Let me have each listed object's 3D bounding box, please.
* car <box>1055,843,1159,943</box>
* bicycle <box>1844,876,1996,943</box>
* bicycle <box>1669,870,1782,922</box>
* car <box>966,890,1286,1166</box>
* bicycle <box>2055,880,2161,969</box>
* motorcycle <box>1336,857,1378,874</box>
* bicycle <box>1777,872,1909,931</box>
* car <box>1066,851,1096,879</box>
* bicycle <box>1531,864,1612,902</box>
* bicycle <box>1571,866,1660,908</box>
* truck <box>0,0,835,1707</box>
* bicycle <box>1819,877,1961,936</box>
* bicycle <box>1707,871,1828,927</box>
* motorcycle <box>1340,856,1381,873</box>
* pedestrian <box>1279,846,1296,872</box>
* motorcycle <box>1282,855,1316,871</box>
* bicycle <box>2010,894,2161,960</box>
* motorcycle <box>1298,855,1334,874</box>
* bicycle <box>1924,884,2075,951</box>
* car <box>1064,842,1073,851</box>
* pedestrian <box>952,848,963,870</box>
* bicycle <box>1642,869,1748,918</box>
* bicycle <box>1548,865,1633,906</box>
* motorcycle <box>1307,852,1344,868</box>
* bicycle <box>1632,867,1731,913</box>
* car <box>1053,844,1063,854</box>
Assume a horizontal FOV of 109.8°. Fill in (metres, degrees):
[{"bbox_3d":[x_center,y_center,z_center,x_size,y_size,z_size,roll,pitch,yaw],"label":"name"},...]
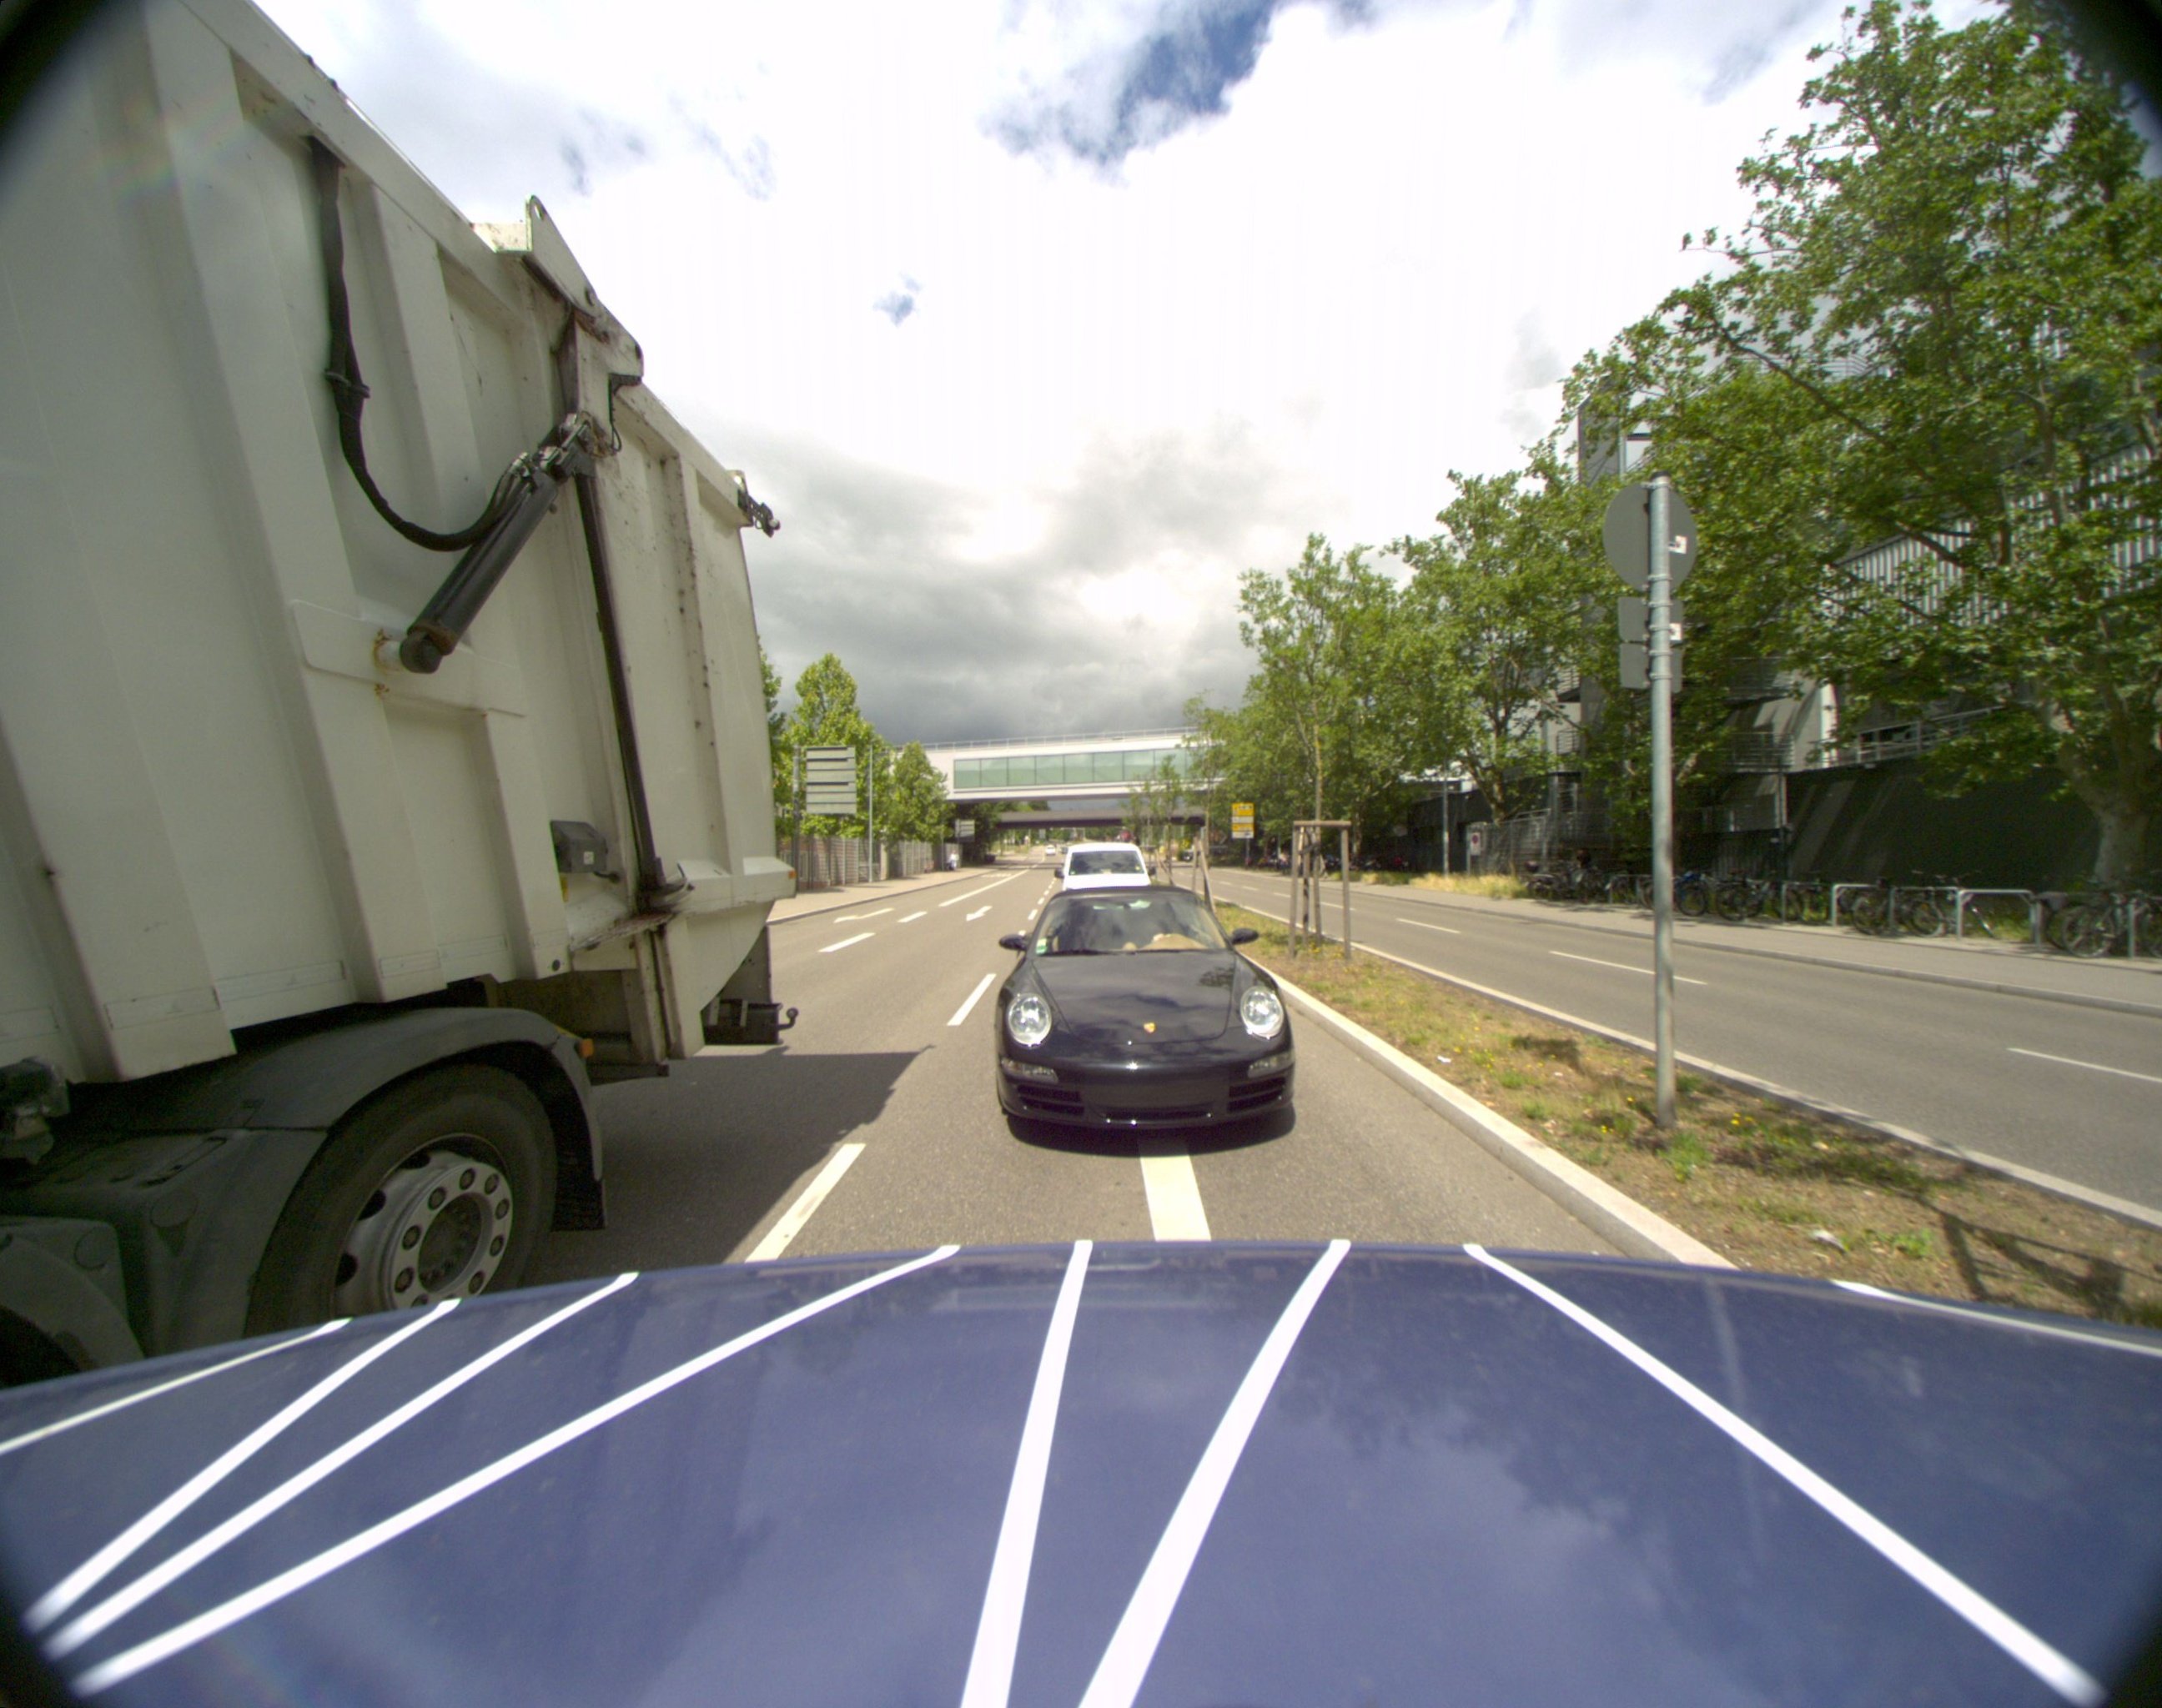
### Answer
[{"bbox_3d":[0.513,0.719,16.445,1.862,1.800,4.906,-1,0,1],"label":"car"},{"bbox_3d":[14.581,0.961,13.223,2.129,1.089,0.382,-1,1,3],"label":"bicycle"},{"bbox_3d":[14.482,0.937,17.086,2.129,1.104,0.382,-1,1,3],"label":"bicycle"},{"bbox_3d":[0.269,1.038,6.038,1.710,1.280,3.806,-1,0,1],"label":"car"},{"bbox_3d":[14.356,0.931,10.240,1.993,1.121,0.382,-1,1,-1],"label":"bicycle"},{"bbox_3d":[15.386,0.630,42.371,2.133,0.893,0.534,-1,0,1],"label":"motorcycle"},{"bbox_3d":[15.044,0.931,15.023,2.129,1.104,0.382,-1,1,3],"label":"bicycle"},{"bbox_3d":[-0.017,0.645,46.863,1.747,1.647,3.545,-1,0,0],"label":"car"},{"bbox_3d":[14.752,0.871,22.865,2.129,1.104,0.382,-1,1,3],"label":"bicycle"},{"bbox_3d":[14.826,0.920,21.100,2.129,1.104,0.382,-1,1,3],"label":"bicycle"},{"bbox_3d":[-3.028,-0.266,0.199,2.495,3.890,10.172,-2,1,0],"label":"truck"},{"bbox_3d":[15.014,0.973,14.117,2.129,1.025,0.382,-1,1,3],"label":"bicycle"},{"bbox_3d":[14.504,0.948,16.062,2.129,1.104,0.382,-1,1,3],"label":"bicycle"},{"bbox_3d":[16.333,0.609,44.423,2.133,0.880,0.534,-1,0,1],"label":"motorcycle"},{"bbox_3d":[13.357,0.322,49.169,0.900,1.710,0.673,-1,1,1],"label":"pedestrian"},{"bbox_3d":[14.511,0.602,50.558,2.133,0.963,0.534,-1,0,1],"label":"motorcycle"},{"bbox_3d":[14.959,1.075,11.242,1.993,0.885,0.382,-1,1,-1],"label":"bicycle"},{"bbox_3d":[15.153,0.674,49.028,2.133,1.131,0.534,-1,0,1],"label":"motorcycle"},{"bbox_3d":[14.756,1.018,12.222,1.993,0.992,0.382,-1,1,-1],"label":"bicycle"},{"bbox_3d":[-2.808,-1.665,172.561,1.862,1.800,4.357,-3,0,1],"label":"car"},{"bbox_3d":[-10.803,0.402,66.553,0.739,1.901,0.658,-2,1,-1],"label":"pedestrian"},{"bbox_3d":[14.508,0.929,17.973,2.129,1.104,0.382,-1,1,3],"label":"bicycle"},{"bbox_3d":[14.756,0.907,22.023,2.129,1.104,0.382,-1,1,3],"label":"bicycle"},{"bbox_3d":[15.340,0.376,47.709,2.133,0.963,0.534,-1,0,1],"label":"motorcycle"},{"bbox_3d":[15.068,0.900,19.088,2.129,1.104,0.382,-1,1,3],"label":"bicycle"},{"bbox_3d":[-4.935,-1.100,162.768,1.925,2.082,4.657,-1,0,2],"label":"car"}]
